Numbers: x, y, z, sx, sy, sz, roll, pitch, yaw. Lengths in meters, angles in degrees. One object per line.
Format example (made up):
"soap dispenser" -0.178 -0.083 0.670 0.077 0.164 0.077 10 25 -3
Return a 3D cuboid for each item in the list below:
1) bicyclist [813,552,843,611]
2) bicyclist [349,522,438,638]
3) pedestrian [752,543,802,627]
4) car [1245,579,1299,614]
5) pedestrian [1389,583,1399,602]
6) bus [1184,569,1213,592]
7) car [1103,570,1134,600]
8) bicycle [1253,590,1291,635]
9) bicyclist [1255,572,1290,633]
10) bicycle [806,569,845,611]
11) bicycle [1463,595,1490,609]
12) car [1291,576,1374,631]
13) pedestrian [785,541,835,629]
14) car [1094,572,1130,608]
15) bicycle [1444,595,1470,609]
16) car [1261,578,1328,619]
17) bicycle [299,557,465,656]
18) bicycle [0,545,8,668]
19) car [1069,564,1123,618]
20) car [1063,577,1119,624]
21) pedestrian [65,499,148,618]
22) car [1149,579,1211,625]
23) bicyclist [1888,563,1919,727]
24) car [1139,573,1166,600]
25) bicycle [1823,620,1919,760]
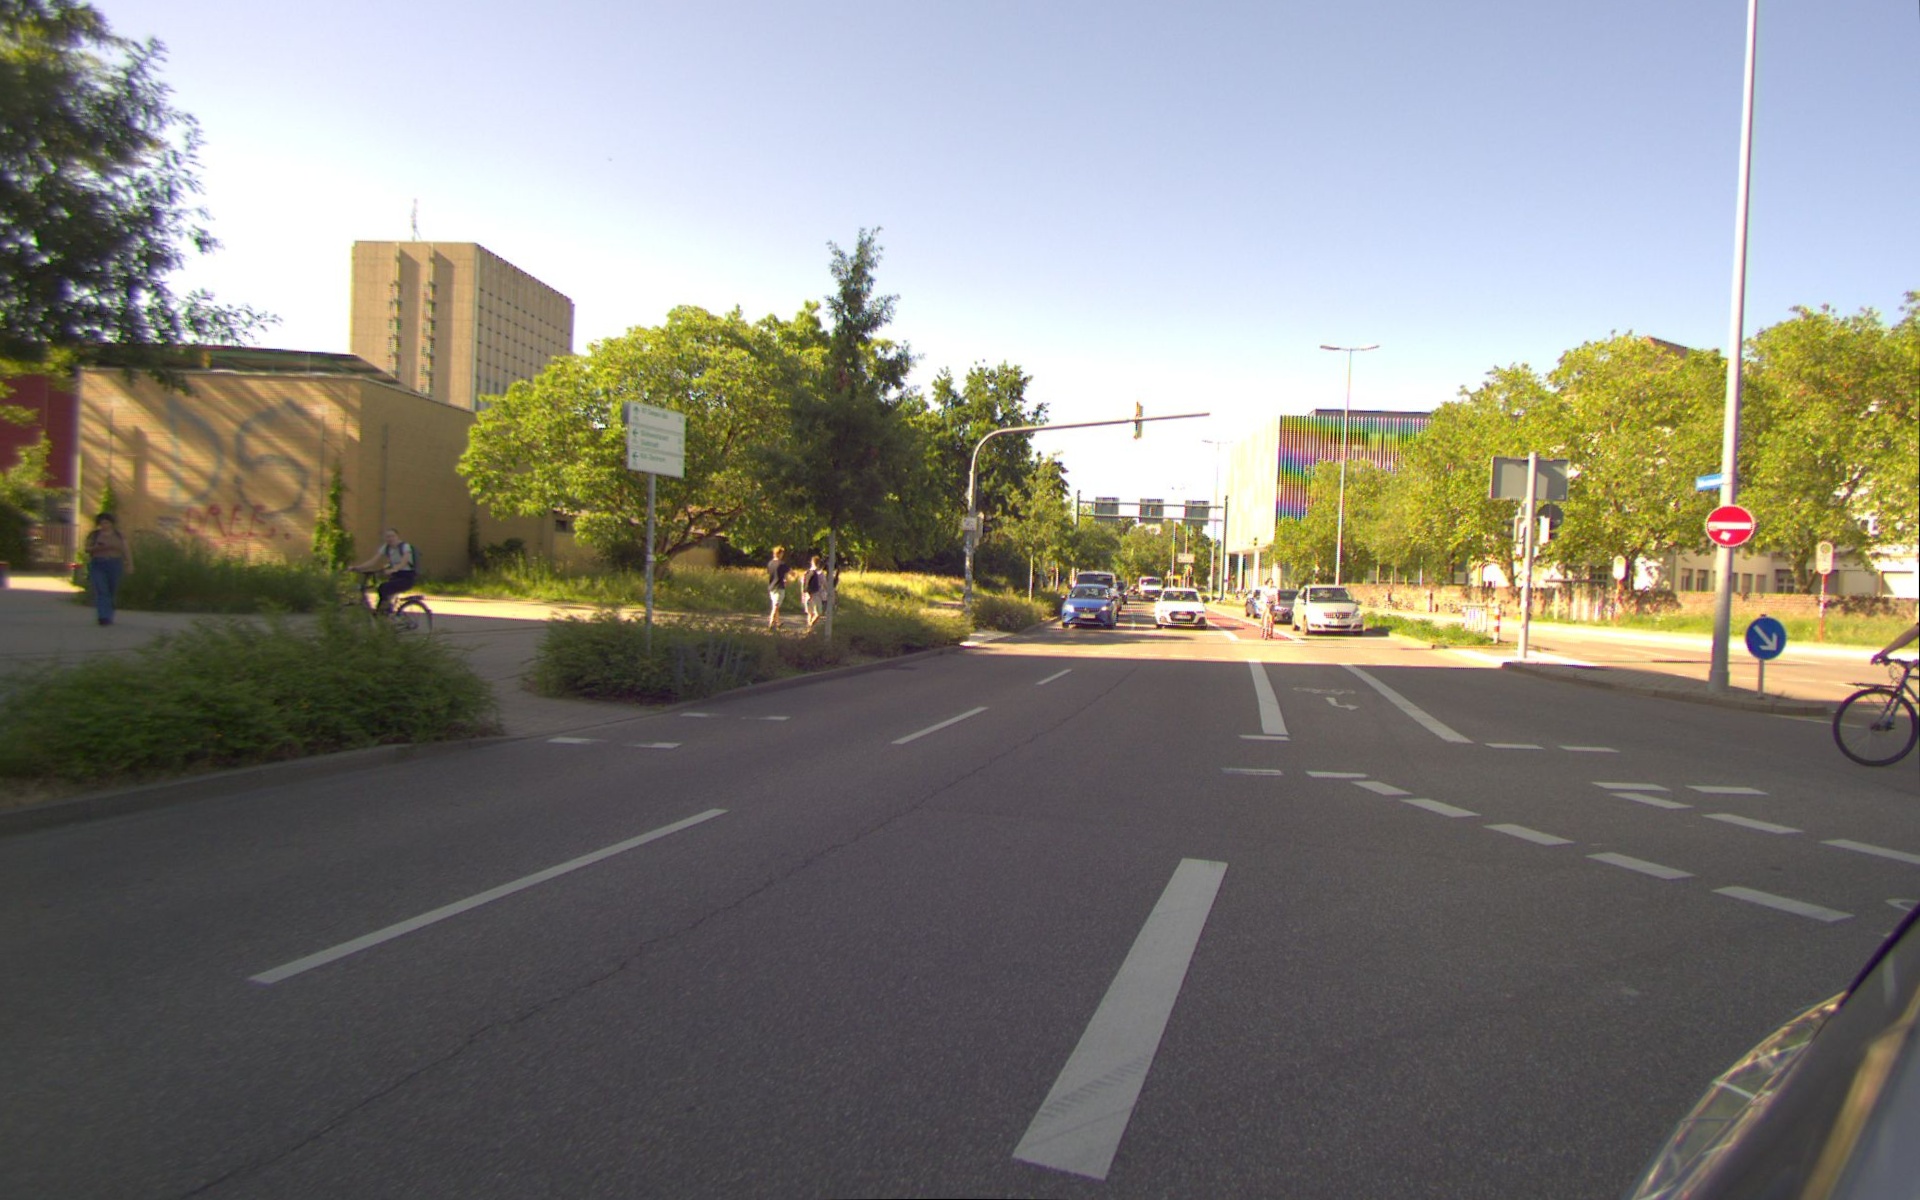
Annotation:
"bicyclist" -3.851 -0.540 29.569 0.633 1.665 0.775 3 1 9
"bicyclist" -7.531 -0.269 13.470 0.637 1.462 0.770 5 2 25
"pedestrian" -4.029 -0.324 22.299 0.723 1.804 0.730 2 -1 24
"car" 15.168 -0.199 49.408 1.952 1.573 4.710 1 1 10
"pedestrian" 37.461 -0.623 87.342 0.641 1.631 0.557 2 -1 5
"bus" 36.701 -2.991 156.114 2.932 3.315 6.253 3 -1 1
"car" 11.186 -1.060 71.590 1.906 1.977 4.749 1 1 7
"bicycle" 9.086 0.339 29.560 0.736 1.179 1.866 3 3 8
"bicyclist" 9.081 0.066 29.456 0.734 1.705 0.976 3 2 9
"bicycle" -3.883 -0.299 29.432 0.632 1.179 1.866 3 1 7
"bicycle" 39.936 0.155 78.276 0.779 1.090 2.088 3 -1 -9
"car" 12.132 0.067 33.207 1.761 1.645 4.303 1 1 10
"pedestrian" -3.231 -0.308 21.794 0.723 1.839 0.730 2 -1 24
"car" 8.421 -0.574 56.125 1.816 1.852 4.380 1 1 9
"bicycle" 39.531 0.164 80.590 0.779 1.090 2.088 3 -1 -9
"car" 13.822 -0.108 42.026 1.952 1.573 4.710 1 1 10
"bicycle" -7.596 0.065 13.389 0.636 1.179 1.855 5 2 24
"bicycle" -9.797 0.060 8.938 0.635 1.179 1.946 5 3 17
"car" 5.534 -0.377 40.686 1.908 1.977 4.743 1 1 10
"car" 4.459 -0.022 34.059 1.677 1.460 3.988 1 1 10
"pedestrian" -12.391 -0.589 14.695 0.730 1.664 0.670 2 -1 32
"car" 7.849 0.019 35.895 1.971 1.487 3.982 2 2 15
"bicyclist" 8.993 0.411 8.935 0.937 1.462 0.642 2 1 7
"car" 15.159 -1.065 79.742 1.907 1.977 4.520 1 1 9
"bicycle" 8.889 0.795 8.949 1.838 1.179 0.642 1 1 7
